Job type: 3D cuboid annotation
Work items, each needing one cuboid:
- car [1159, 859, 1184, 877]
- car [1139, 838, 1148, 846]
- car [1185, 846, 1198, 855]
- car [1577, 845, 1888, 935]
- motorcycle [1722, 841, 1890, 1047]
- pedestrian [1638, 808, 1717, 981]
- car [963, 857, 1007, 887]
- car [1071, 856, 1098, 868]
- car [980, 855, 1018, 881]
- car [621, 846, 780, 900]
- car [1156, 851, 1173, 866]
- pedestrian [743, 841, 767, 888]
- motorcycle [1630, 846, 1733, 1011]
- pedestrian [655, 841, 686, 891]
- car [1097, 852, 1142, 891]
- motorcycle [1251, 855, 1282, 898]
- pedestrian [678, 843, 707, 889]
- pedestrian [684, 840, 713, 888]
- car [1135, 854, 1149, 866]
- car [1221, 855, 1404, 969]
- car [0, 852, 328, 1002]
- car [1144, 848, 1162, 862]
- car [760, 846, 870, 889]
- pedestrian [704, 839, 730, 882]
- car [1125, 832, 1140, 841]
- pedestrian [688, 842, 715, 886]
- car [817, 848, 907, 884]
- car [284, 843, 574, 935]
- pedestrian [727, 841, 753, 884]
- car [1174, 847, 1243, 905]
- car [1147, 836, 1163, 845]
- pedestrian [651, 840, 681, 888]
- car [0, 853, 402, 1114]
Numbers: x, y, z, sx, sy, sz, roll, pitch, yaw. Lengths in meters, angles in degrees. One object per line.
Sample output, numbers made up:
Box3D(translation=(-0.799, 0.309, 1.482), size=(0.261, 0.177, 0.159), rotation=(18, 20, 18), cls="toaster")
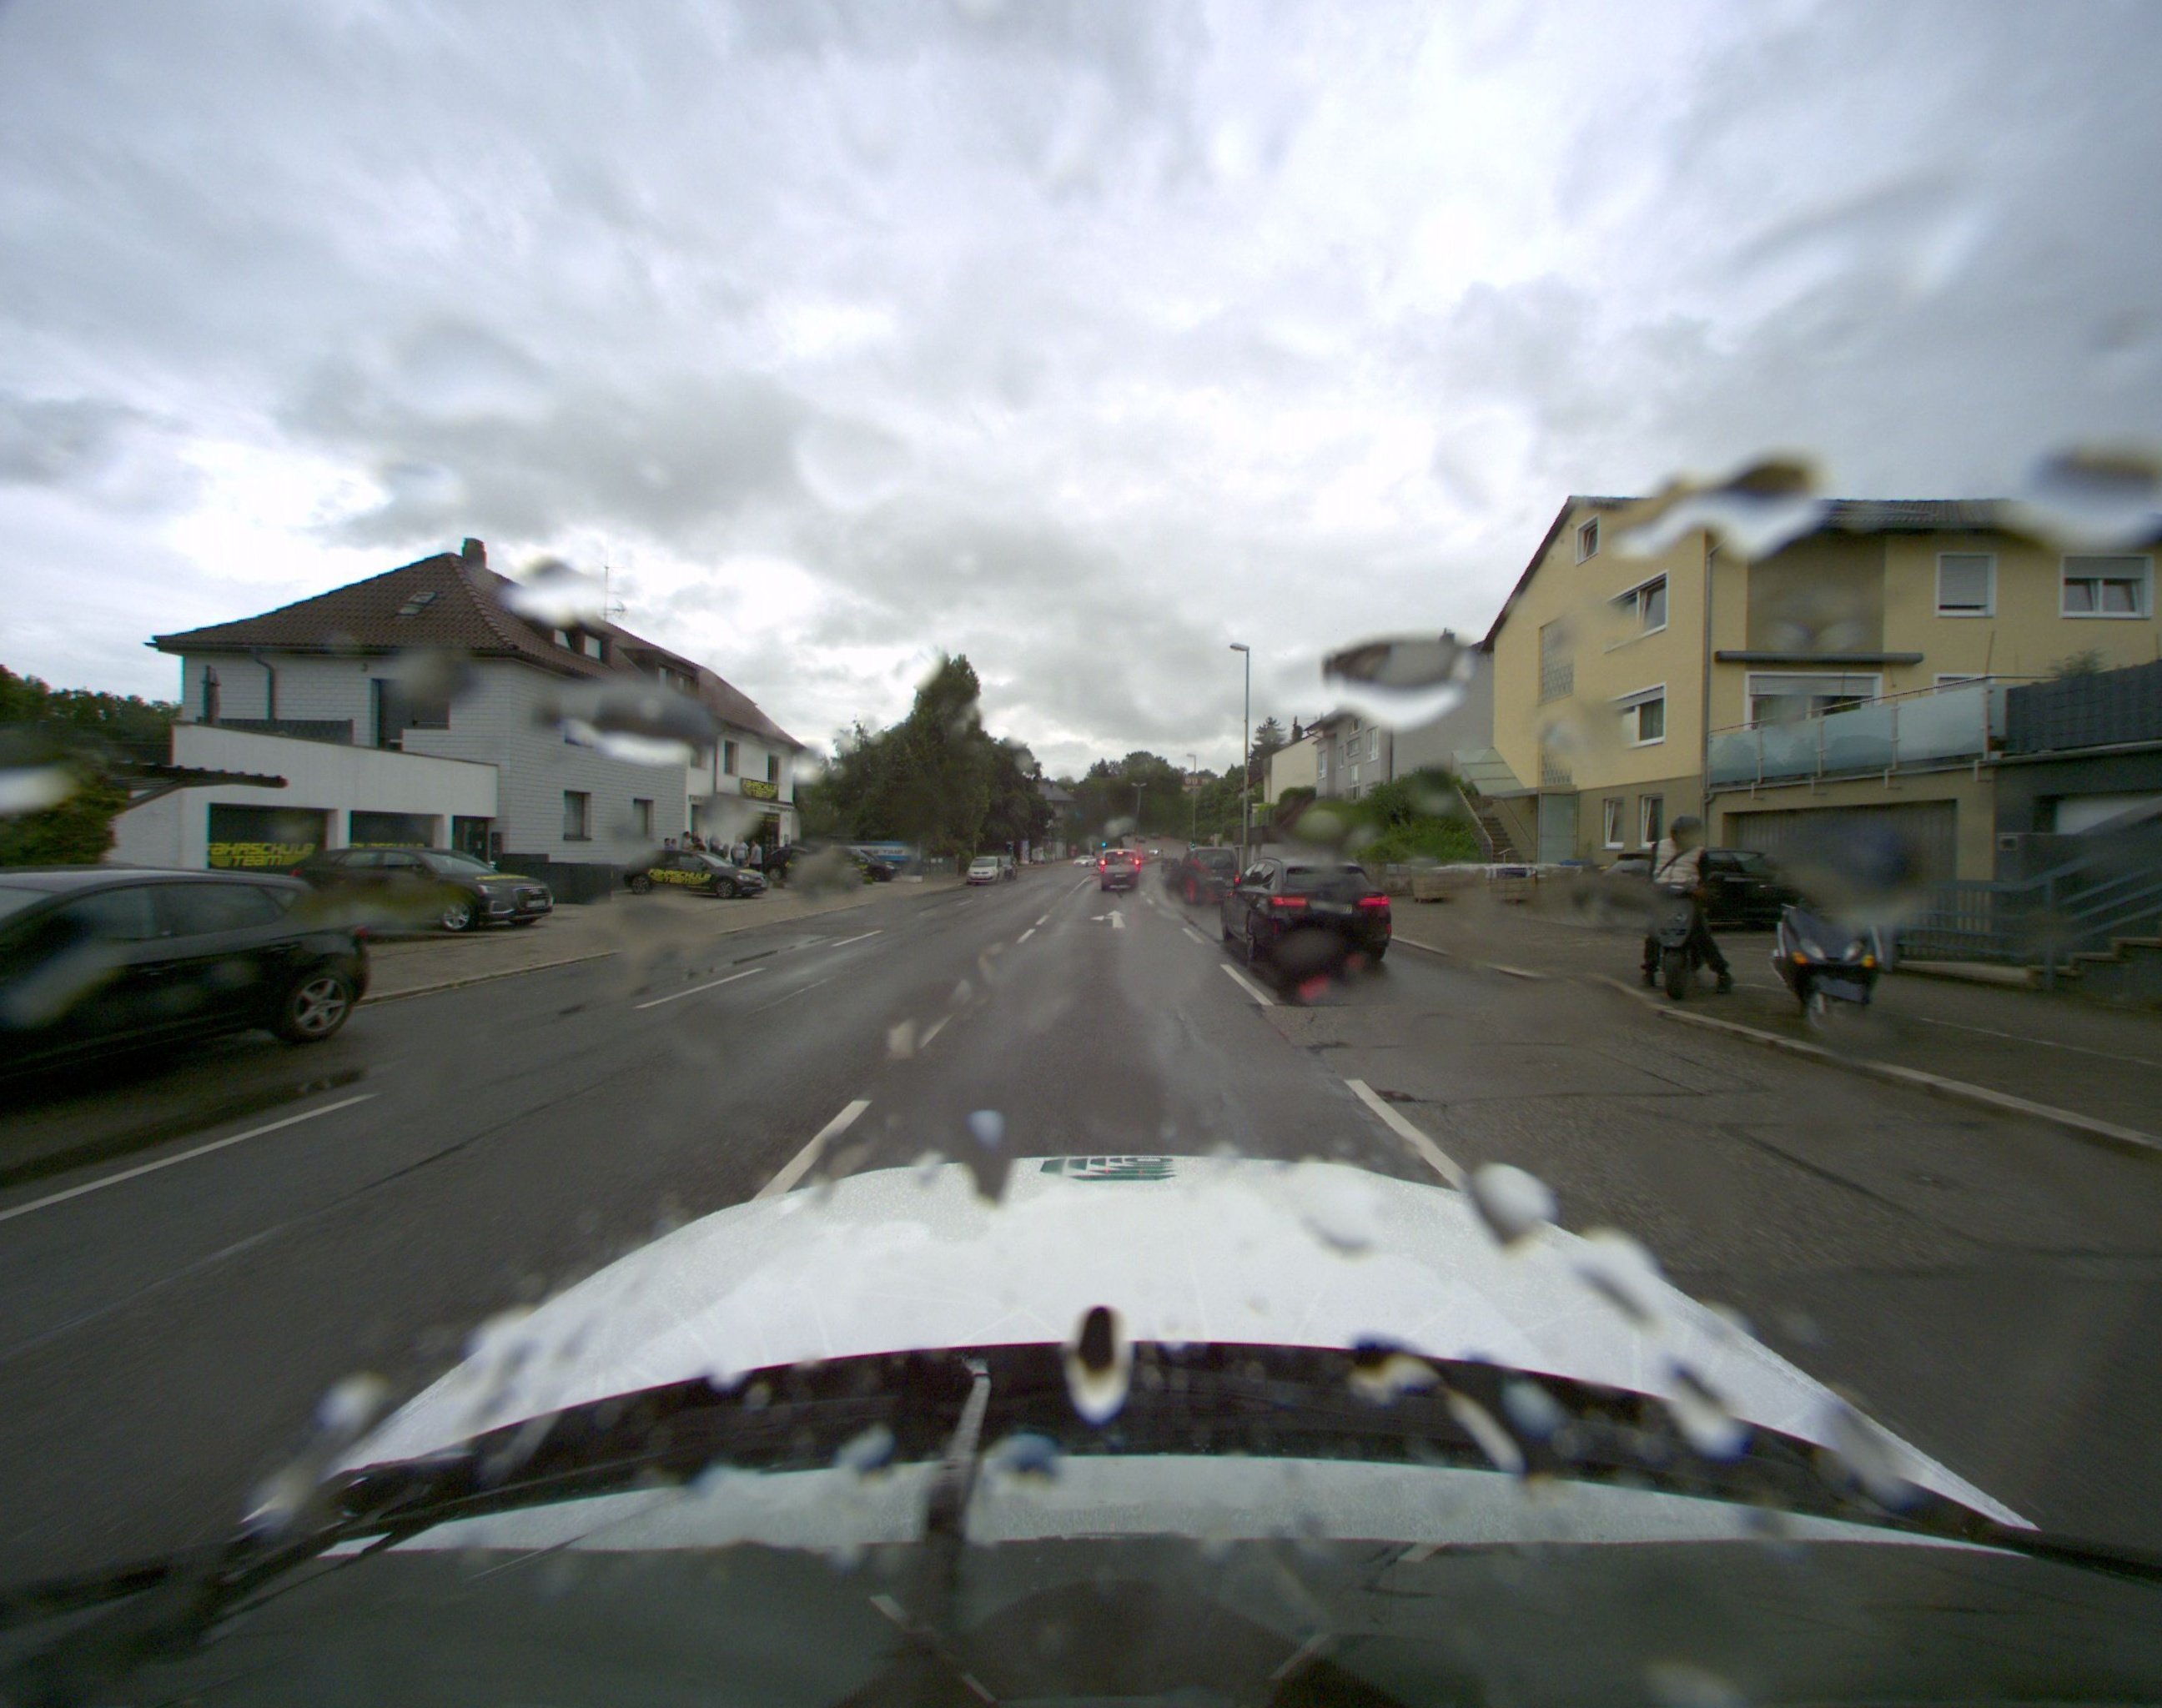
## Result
Box3D(translation=(8.508, 1.305, 76.864), size=(1.986, 1.578, 4.002), rotation=(-3, 0, 2), cls="car")
Box3D(translation=(13.892, -2.616, 181.329), size=(1.986, 1.585, 4.002), rotation=(1, -1, 2), cls="car")
Box3D(translation=(20.984, -0.681, 155.085), size=(1.986, 1.585, 4.002), rotation=(1, -1, 2), cls="car")
Box3D(translation=(11.246, 0.605, 14.279), size=(3.974, 1.433, 1.869), rotation=(-1, -1, 0), cls="car")
Box3D(translation=(6.052, 0.629, 6.752), size=(2.101, 1.450, 0.812), rotation=(-1, 0, -42), cls="motorcycle")
Box3D(translation=(6.030, 0.390, 8.253), size=(0.614, 1.650, 0.838), rotation=(0, -1, 36), cls="pedestrian")
Box3D(translation=(-5.450, 1.012, 46.759), size=(1.877, 1.585, 4.002), rotation=(1, -1, 2), cls="car")
Box3D(translation=(0.442, 1.026, 104.627), size=(1.976, 1.547, 4.419), rotation=(0, -1, 22), cls="car")
Box3D(translation=(-5.351, 0.910, 53.464), size=(1.877, 1.585, 4.002), rotation=(1, -1, 2), cls="car")
Box3D(translation=(-11.923, 0.596, 25.705), size=(4.057, 1.516, 1.856), rotation=(2, -1, 1), cls="car")
Box3D(translation=(13.434, 0.691, 131.572), size=(2.510, 2.013, 5.616), rotation=(1, 2, 4), cls="car")
Box3D(translation=(-12.590, 0.399, 31.468), size=(0.599, 1.791, 0.649), rotation=(3, -1, -3), cls="pedestrian")
Box3D(translation=(6.052, 0.674, 8.260), size=(0.749, 1.450, 2.102), rotation=(0, -1, 35), cls="motorcycle")
Box3D(translation=(-14.117, 0.398, 28.021), size=(0.597, 1.665, 0.651), rotation=(3, -1, 7), cls="pedestrian")
Box3D(translation=(1.803, 0.802, 38.153), size=(1.986, 1.737, 4.002), rotation=(1, -1, 2), cls="car")
Box3D(translation=(6.895, 0.811, 30.313), size=(0.700, 1.509, 2.151), rotation=(-2, -1, 2), cls="motorcycle")
Box3D(translation=(-14.579, 0.455, 30.567), size=(0.597, 1.665, 0.651), rotation=(3, -1, 7), cls="pedestrian")
Box3D(translation=(-13.768, 0.369, 29.349), size=(0.597, 1.665, 0.651), rotation=(3, -1, 7), cls="pedestrian")
Box3D(translation=(9.342, 0.950, 125.580), size=(1.986, 1.772, 4.002), rotation=(0, 0, 2), cls="car")
Box3D(translation=(3.399, 0.785, 12.767), size=(1.985, 1.484, 4.004), rotation=(1, -1, 4), cls="car")
Box3D(translation=(-11.926, 0.860, 9.709), size=(3.978, 1.516, 1.853), rotation=(-3, -1, -4), cls="car")
Box3D(translation=(12.523, 0.177, 141.440), size=(2.514, 2.013, 5.607), rotation=(1, 3, -1), cls="car")
Box3D(translation=(-11.574, 0.577, 35.675), size=(4.058, 1.516, 1.856), rotation=(4, -1, 1), cls="car")
Box3D(translation=(-14.482, 0.256, 32.386), size=(0.597, 1.665, 0.651), rotation=(3, -1, 7), cls="pedestrian")
Box3D(translation=(13.530, -4.681, 213.873), size=(2.522, 2.012, 5.591), rotation=(1, 5, -11), cls="car")
Box3D(translation=(-14.663, 0.382, 31.453), size=(0.597, 1.665, 0.651), rotation=(3, -1, 7), cls="pedestrian")
Box3D(translation=(-11.413, 0.637, 42.610), size=(4.058, 1.516, 1.856), rotation=(4, -1, 1), cls="car")
Box3D(translation=(-12.260, 0.630, 15.514), size=(3.972, 1.516, 1.856), rotation=(2, -1, 1), cls="car")
Box3D(translation=(-13.471, 0.335, 32.193), size=(0.597, 1.665, 0.651), rotation=(3, -1, 10), cls="pedestrian")
Box3D(translation=(4.159, 0.689, 27.063), size=(1.831, 1.767, 4.002), rotation=(1, -1, 2), cls="car")
Box3D(translation=(17.487, -3.165, 193.019), size=(2.521, 2.013, 5.591), rotation=(1, 2, -9), cls="car")
Box3D(translation=(-14.667, 0.357, 28.790), size=(0.597, 1.665, 0.651), rotation=(3, -1, 7), cls="pedestrian")
Box3D(translation=(-7.232, 0.760, 5.521), size=(1.752, 1.533, 4.206), rotation=(1, -1, -1), cls="car")
